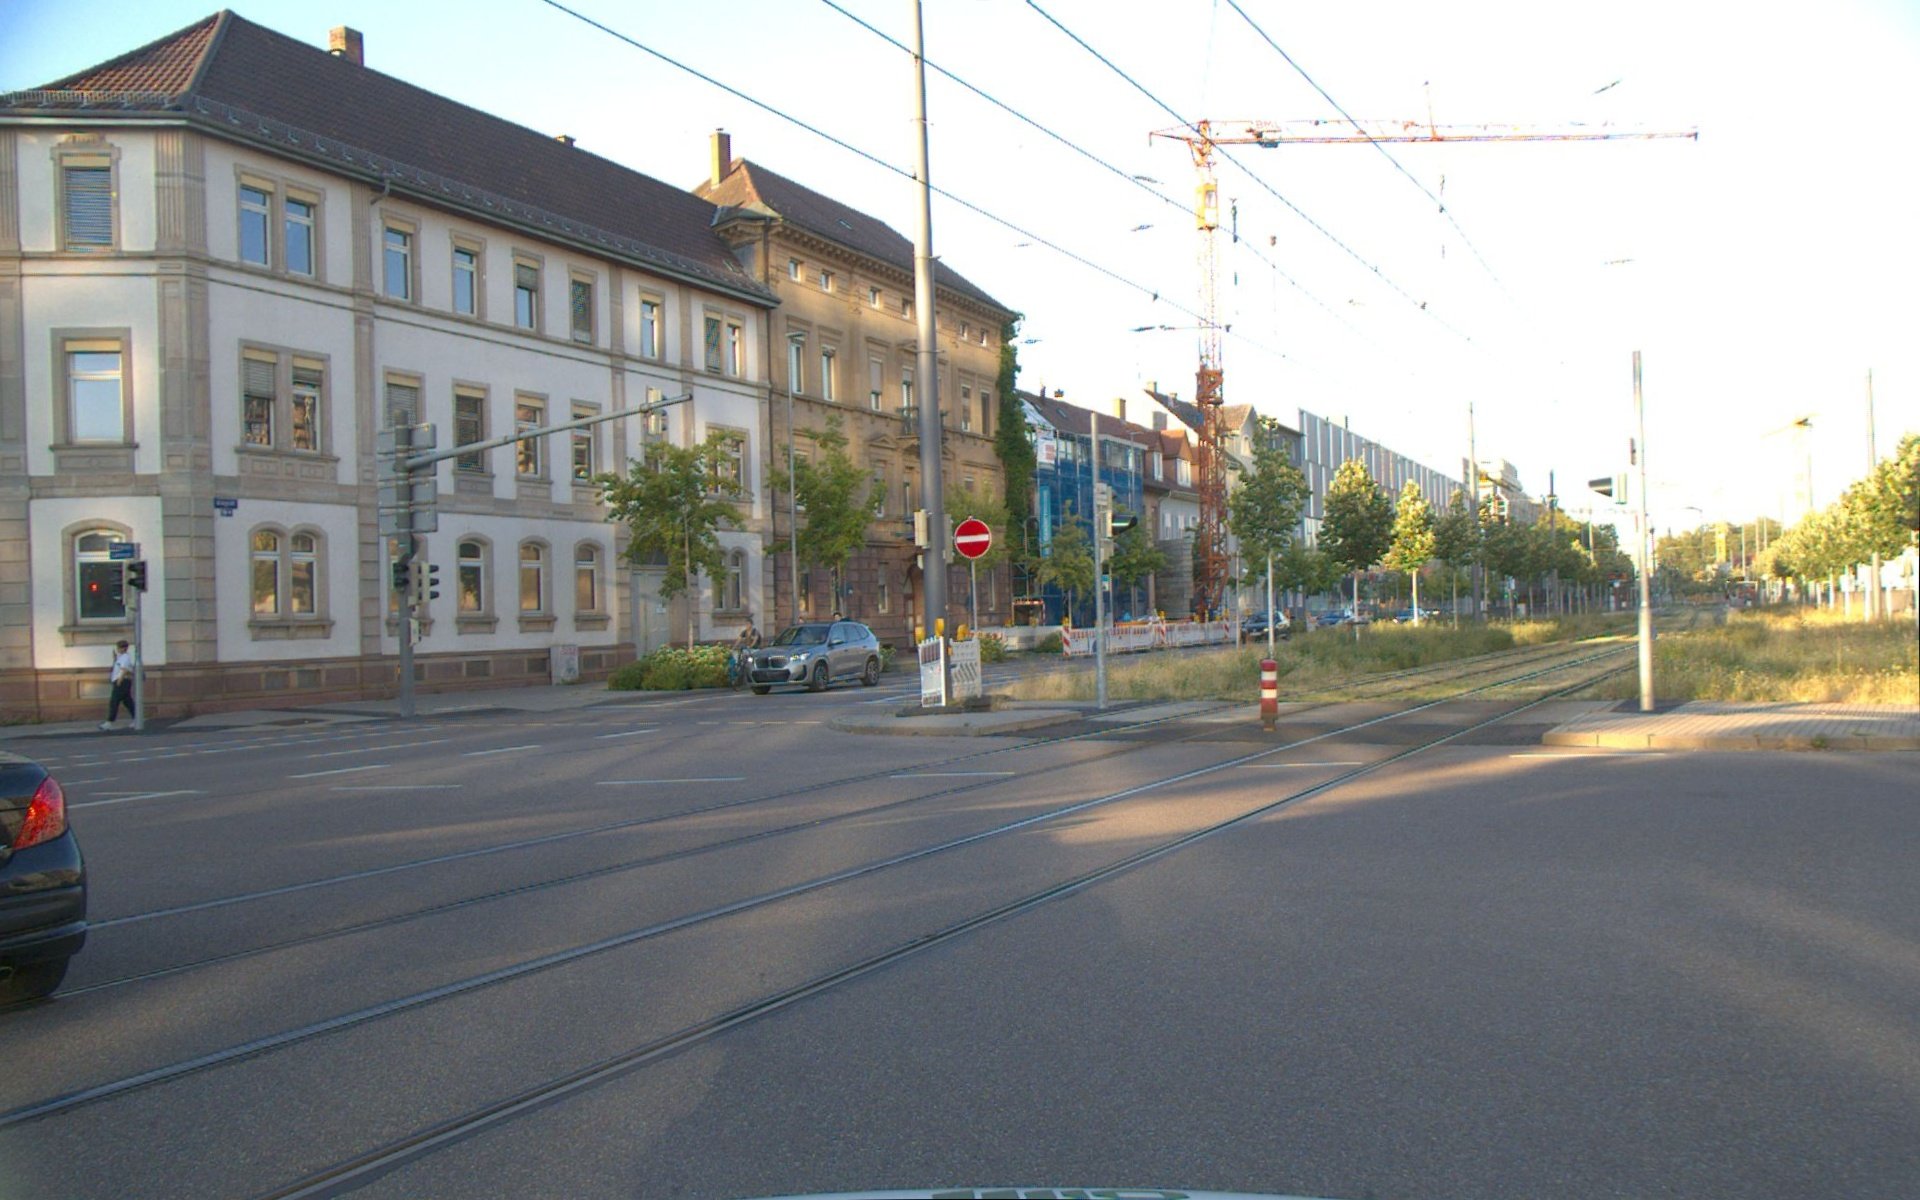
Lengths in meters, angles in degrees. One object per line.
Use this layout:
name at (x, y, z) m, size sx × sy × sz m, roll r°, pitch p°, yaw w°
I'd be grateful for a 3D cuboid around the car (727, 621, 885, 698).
car at (-3.652, 1.409, 40.025) m, size 1.954 × 1.608 × 4.121 m, roll -4°, pitch -1°, yaw 25°

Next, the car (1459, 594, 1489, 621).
car at (39.201, 0.569, 126.085) m, size 1.625 × 1.998 × 4.263 m, roll 0°, pitch 1°, yaw 26°

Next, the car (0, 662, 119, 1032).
car at (-5.382, 1.004, 7.186) m, size 3.925 × 1.376 × 1.671 m, roll -3°, pitch -2°, yaw 40°

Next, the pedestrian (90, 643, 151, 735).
pedestrian at (-16.340, 1.720, 32.210) m, size 0.792 × 1.745 × 0.705 m, roll 0°, pitch 0°, yaw 10°

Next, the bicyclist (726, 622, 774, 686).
bicyclist at (-5.479, 1.403, 43.172) m, size 0.831 × 1.620 × 0.999 m, roll 0°, pitch 1°, yaw 25°

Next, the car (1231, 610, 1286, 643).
car at (14.282, 1.242, 79.129) m, size 1.625 × 1.456 × 3.891 m, roll 0°, pitch 1°, yaw 26°

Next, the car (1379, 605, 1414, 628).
car at (29.849, 1.135, 113.090) m, size 1.625 × 1.456 × 3.891 m, roll 0°, pitch 1°, yaw 26°

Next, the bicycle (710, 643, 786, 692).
bicycle at (-5.495, 1.740, 43.073) m, size 0.831 × 1.143 × 2.413 m, roll 0°, pitch 1°, yaw 24°
